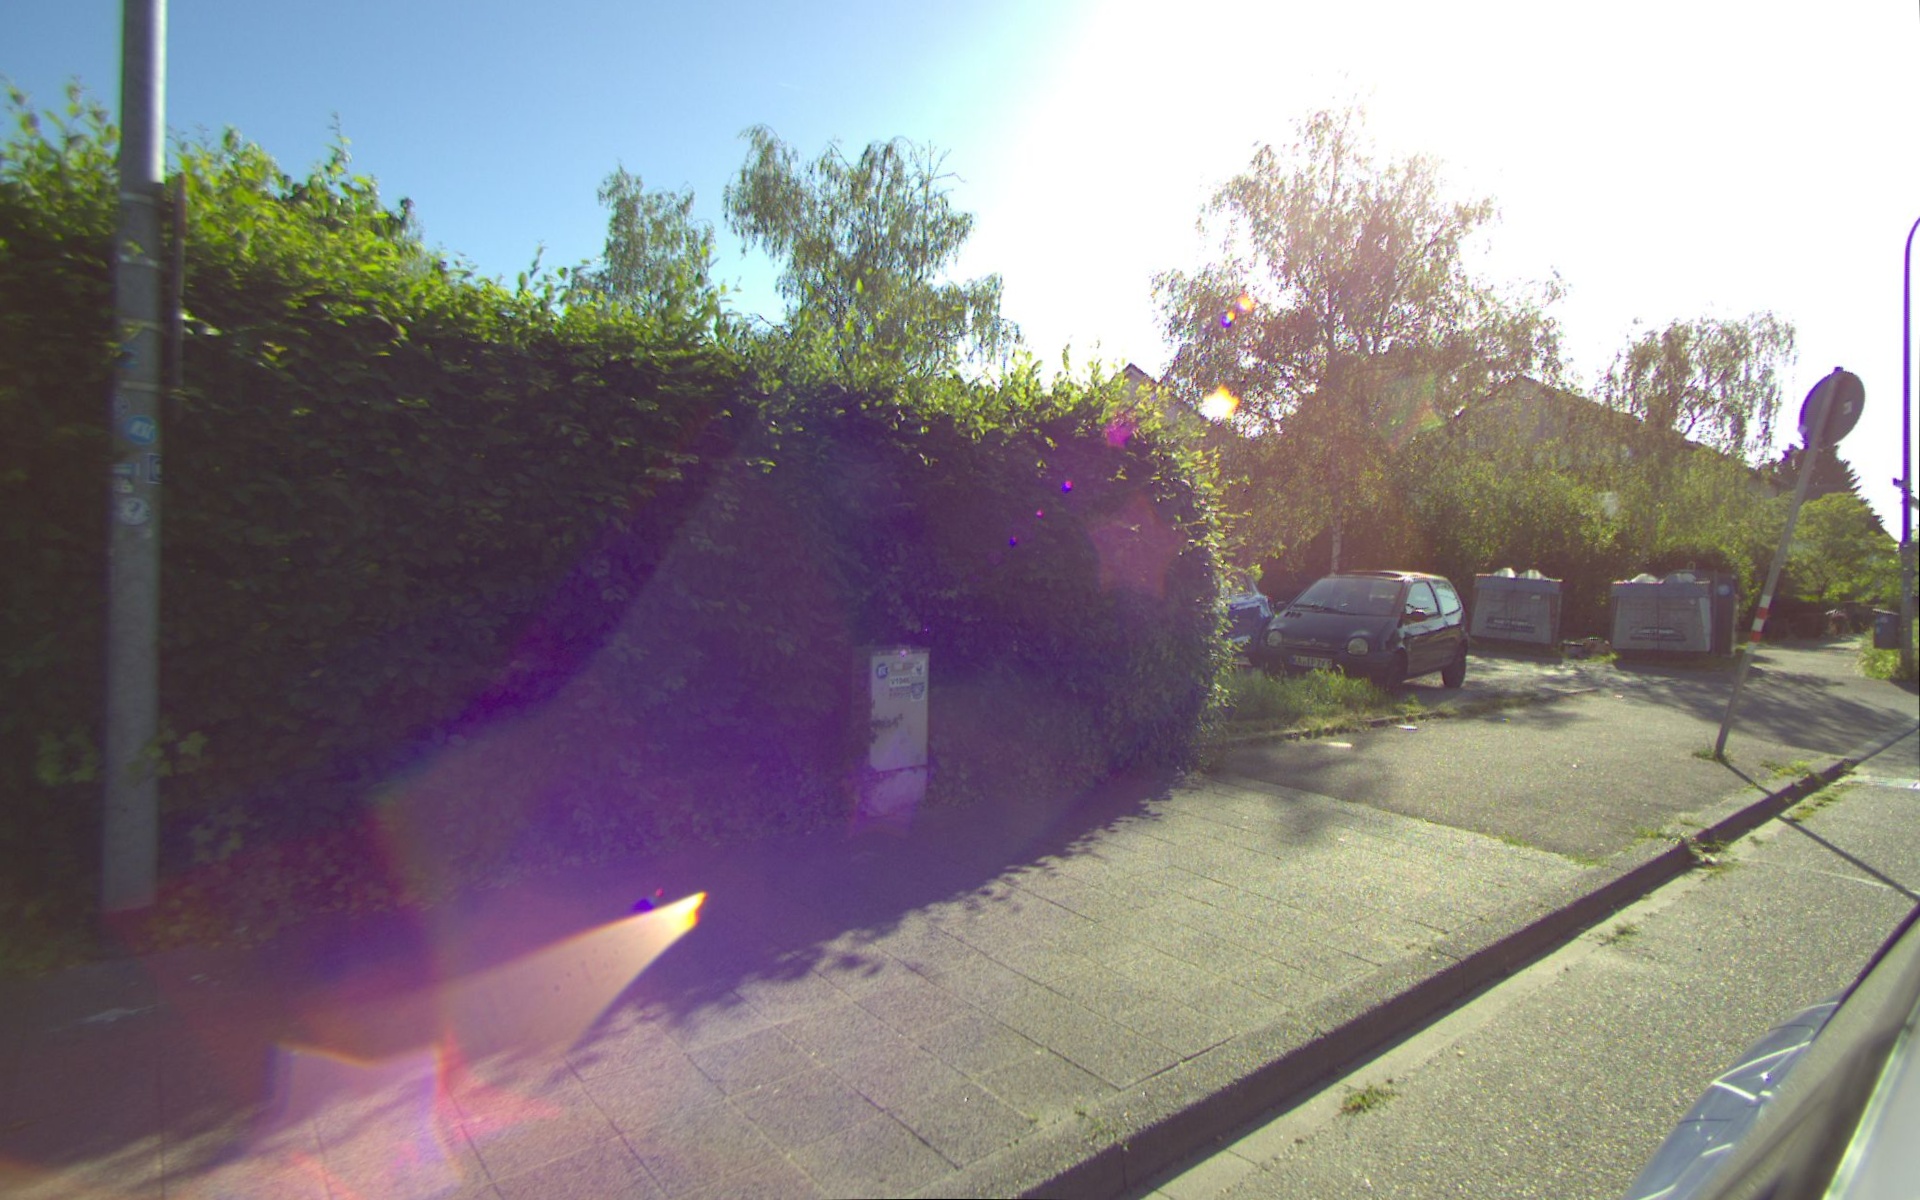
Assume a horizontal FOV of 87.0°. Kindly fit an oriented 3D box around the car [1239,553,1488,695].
[{"bbox_3d":[5.145,0.233,12.704,1.699,1.484,3.478,4,3,43],"label":"car"}]

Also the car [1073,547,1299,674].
[{"bbox_3d":[3.282,0.065,14.276,1.643,1.514,3.640,4,3,39],"label":"car"}]

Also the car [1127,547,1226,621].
[{"bbox_3d":[5.521,-0.406,25.439,1.770,1.623,4.037,4,2,21],"label":"car"}]

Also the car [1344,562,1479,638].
[{"bbox_3d":[9.811,0.014,21.828,1.627,1.457,4.007,3,1,39],"label":"car"}]

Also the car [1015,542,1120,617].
[{"bbox_3d":[2.929,-0.532,26.821,1.769,1.727,4.090,4,2,20],"label":"car"}]
